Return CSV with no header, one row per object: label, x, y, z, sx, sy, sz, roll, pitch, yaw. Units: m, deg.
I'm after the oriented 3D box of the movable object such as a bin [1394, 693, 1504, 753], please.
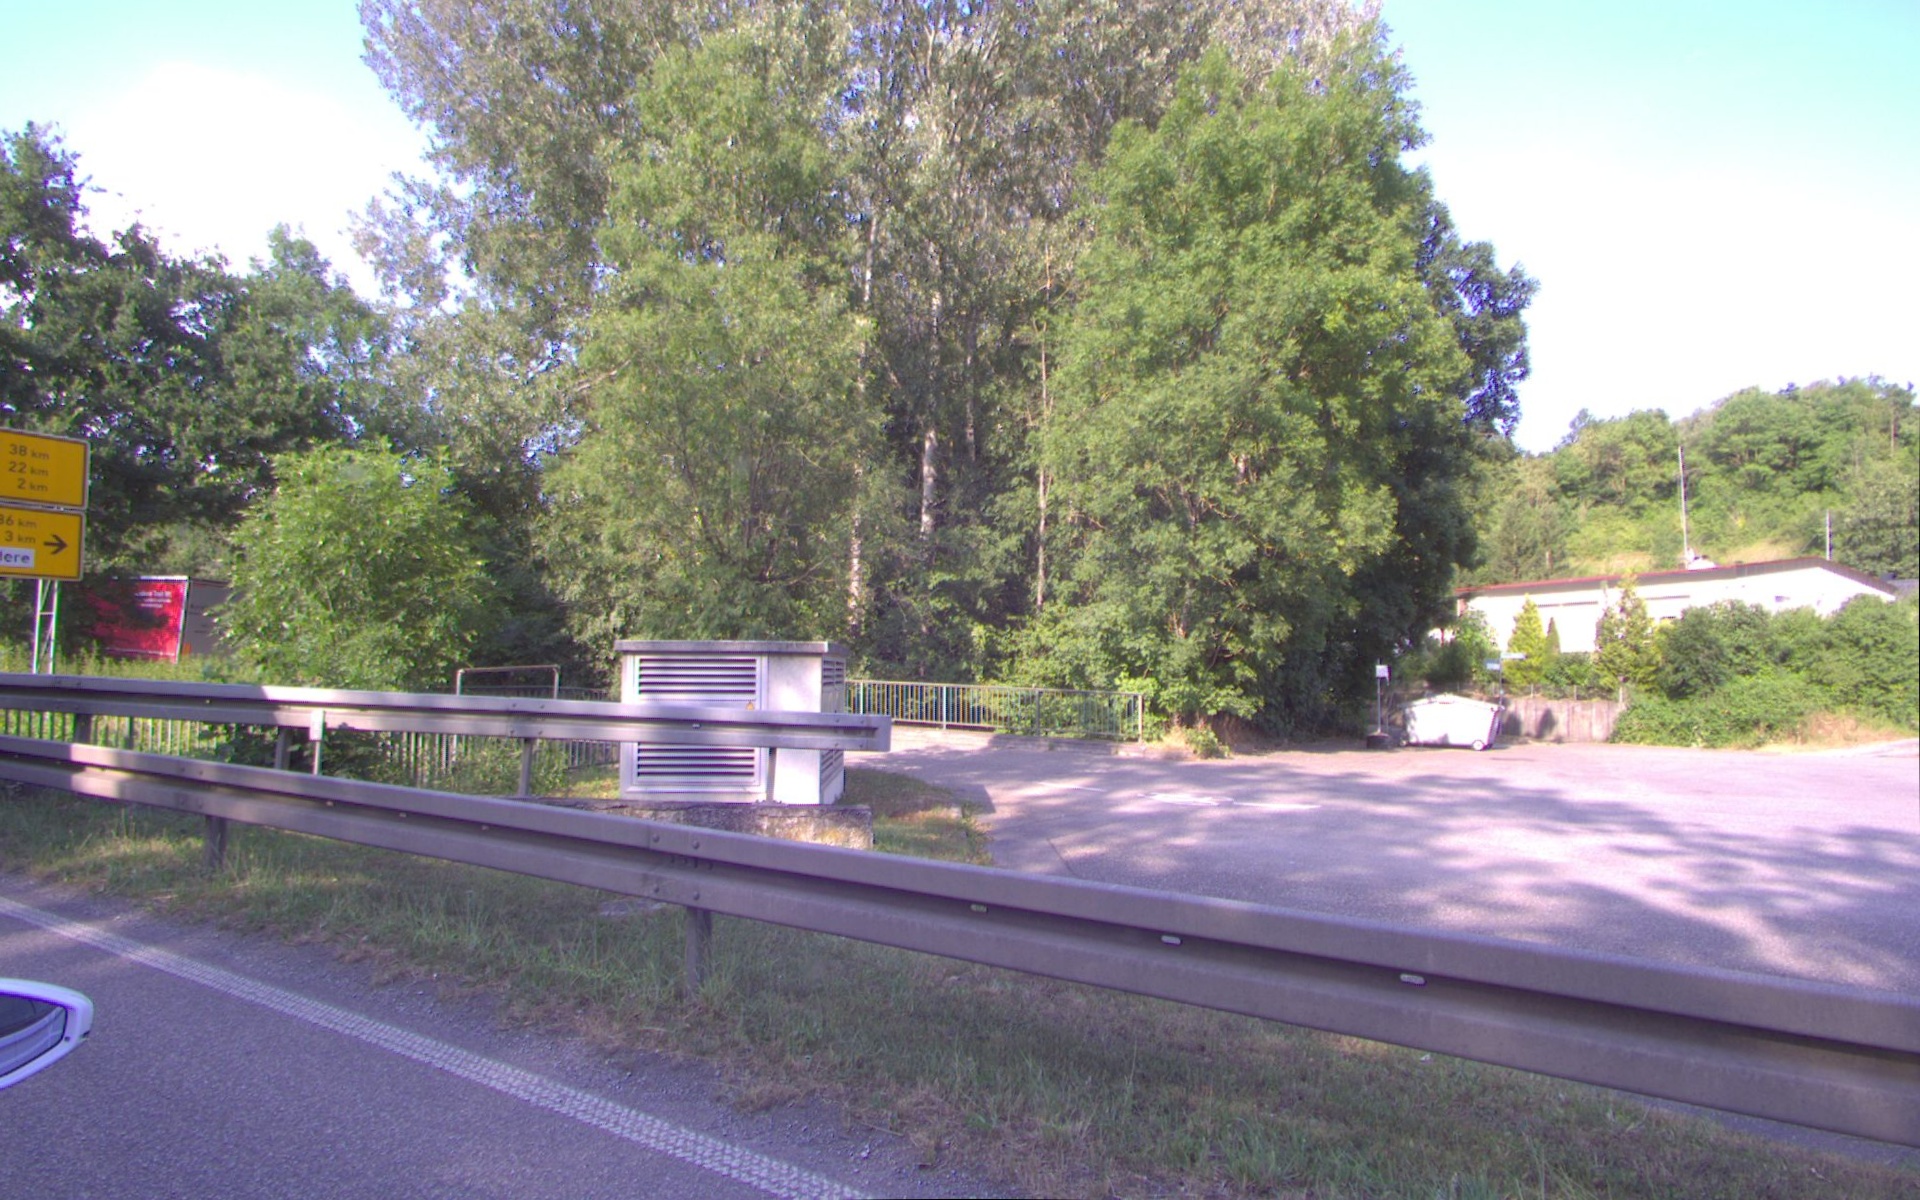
movable object such as a bin,13.040,3.258,26.720,2.521,1.436,1.265,-1,-6,32
